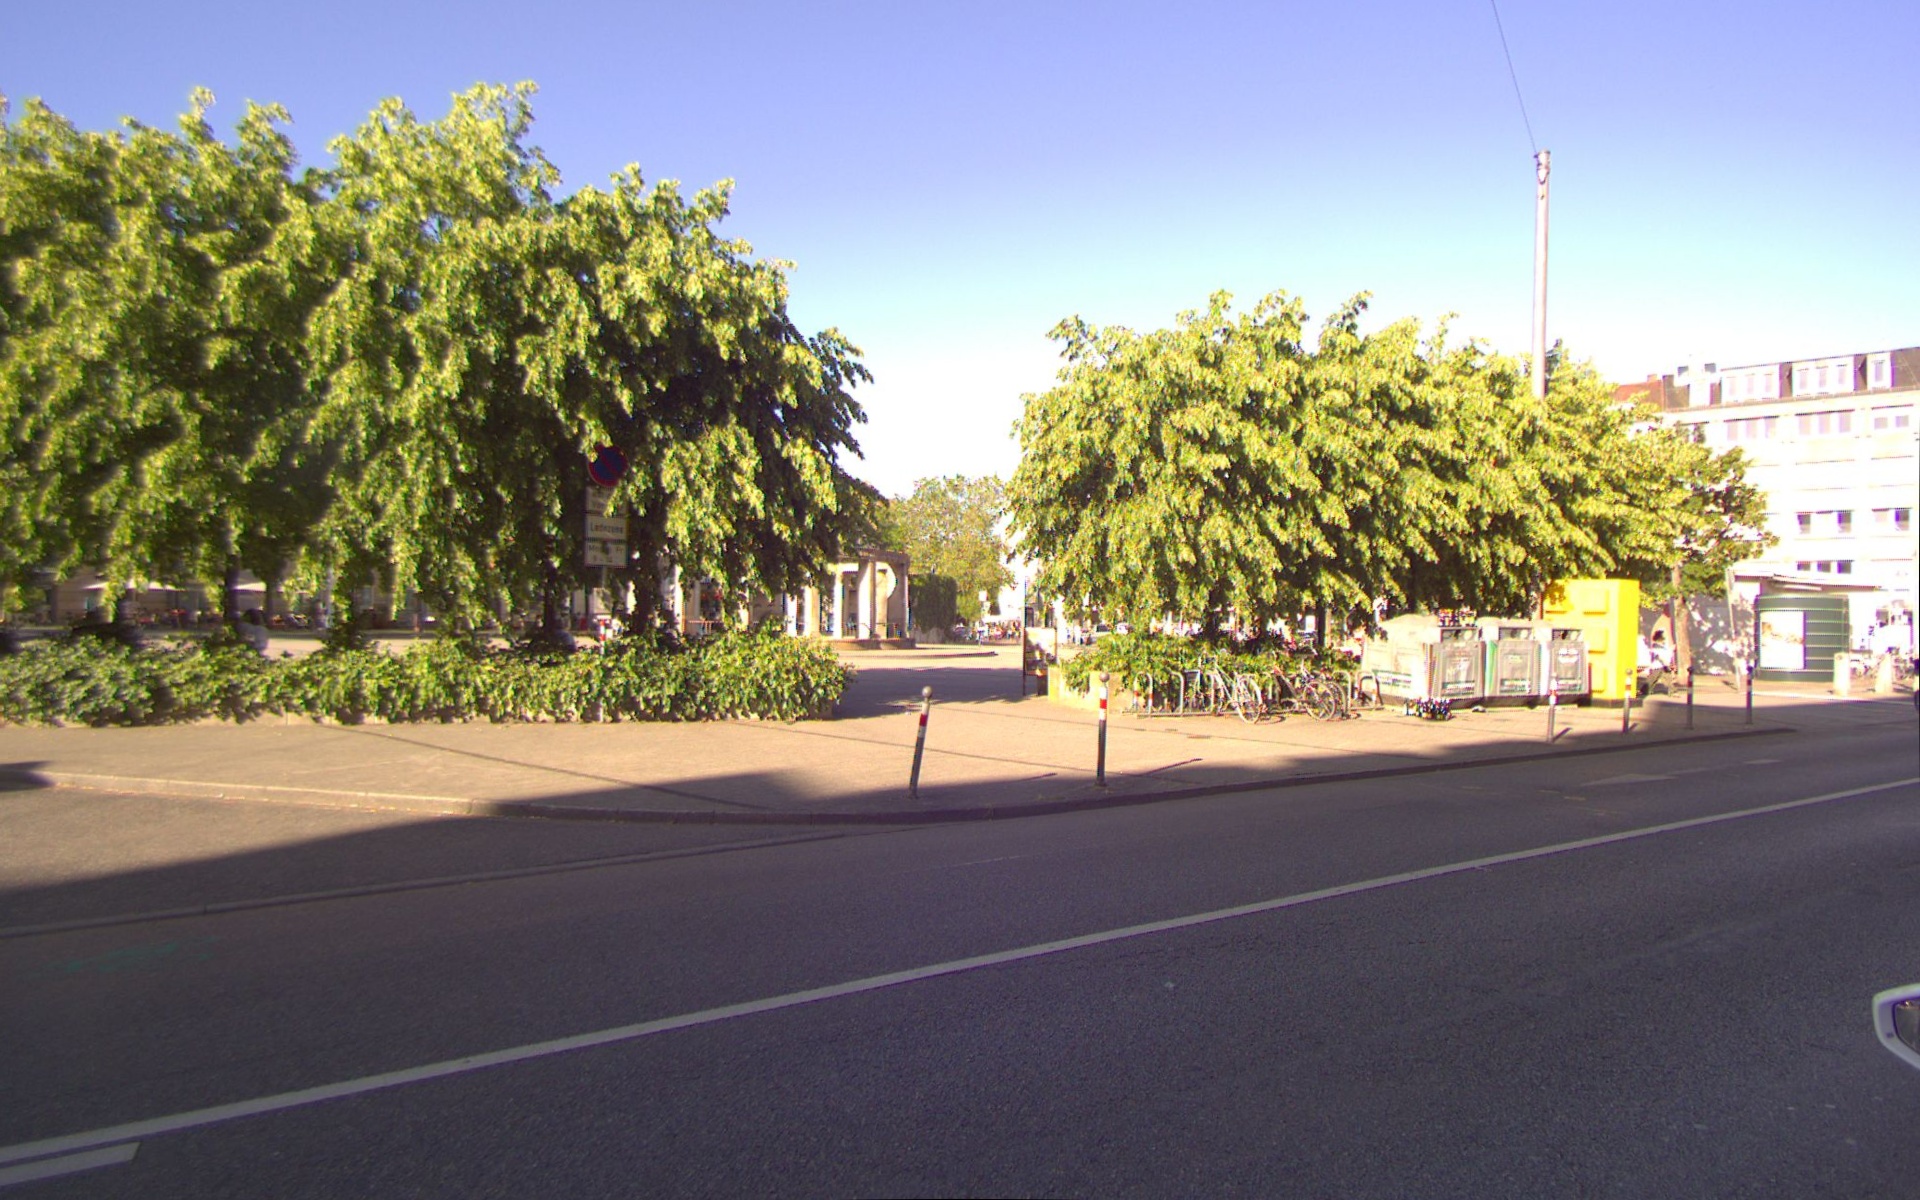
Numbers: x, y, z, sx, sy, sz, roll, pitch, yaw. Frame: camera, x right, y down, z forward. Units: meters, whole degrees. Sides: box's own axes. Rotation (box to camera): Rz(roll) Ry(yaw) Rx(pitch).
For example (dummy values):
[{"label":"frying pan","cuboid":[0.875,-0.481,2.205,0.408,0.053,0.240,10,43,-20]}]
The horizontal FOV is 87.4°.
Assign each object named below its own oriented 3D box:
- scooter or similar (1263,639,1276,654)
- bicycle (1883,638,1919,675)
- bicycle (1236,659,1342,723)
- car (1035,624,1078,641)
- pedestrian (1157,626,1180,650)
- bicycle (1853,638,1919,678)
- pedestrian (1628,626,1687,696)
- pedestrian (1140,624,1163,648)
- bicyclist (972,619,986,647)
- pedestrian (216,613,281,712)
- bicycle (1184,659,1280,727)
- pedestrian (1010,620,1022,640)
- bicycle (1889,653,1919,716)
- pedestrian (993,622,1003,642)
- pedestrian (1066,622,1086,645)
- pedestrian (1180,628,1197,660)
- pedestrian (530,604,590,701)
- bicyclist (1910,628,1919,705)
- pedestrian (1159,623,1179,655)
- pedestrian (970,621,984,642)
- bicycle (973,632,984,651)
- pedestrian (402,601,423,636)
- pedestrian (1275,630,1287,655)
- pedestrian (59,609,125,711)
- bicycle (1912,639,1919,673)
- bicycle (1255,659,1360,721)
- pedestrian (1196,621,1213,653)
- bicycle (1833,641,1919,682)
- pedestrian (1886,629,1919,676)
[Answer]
[{"label":"scooter or similar","cuboid":[20.013,2.995,64.931,0.775,0.970,0.464,2,0,25]},{"label":"bicycle","cuboid":[35.268,2.083,36.139,0.932,1.287,2.859,2,0,-32]},{"label":"bicycle","cuboid":[5.281,1.442,16.191,0.465,0.870,1.659,2,0,-35]},{"label":"car","cuboid":[8.956,3.011,93.516,1.538,1.550,4.087,1,-1,-39]},{"label":"pedestrian","cuboid":[11.256,2.031,54.265,0.885,1.230,0.864,2,0,-15]},{"label":"bicycle","cuboid":[33.149,2.039,35.073,0.923,1.291,2.764,2,0,-32]},{"label":"pedestrian","cuboid":[16.153,1.398,23.263,0.688,1.564,0.915,2,0,-35]},{"label":"pedestrian","cuboid":[10.204,1.907,53.626,0.855,1.230,0.933,2,0,-15]},{"label":"bicyclist","cuboid":[1.184,2.063,62.923,0.773,1.722,0.896,2,0,2]},{"label":"pedestrian","cuboid":[-10.844,0.933,15.307,0.581,1.456,0.615,2,0,33]},{"label":"bicycle","cuboid":[4.181,1.410,15.533,0.464,0.897,1.558,2,0,-29]},{"label":"pedestrian","cuboid":[5.368,2.908,96.695,0.891,1.845,0.952,2,0,17]},{"label":"bicycle","cuboid":[19.165,1.653,19.346,0.618,1.239,2.000,2,-3,-4]},{"label":"pedestrian","cuboid":[3.905,3.271,104.021,0.836,2.040,0.855,2,0,10]},{"label":"pedestrian","cuboid":[9.737,2.815,84.428,1.277,1.867,1.100,2,0,28]},{"label":"pedestrian","cuboid":[11.440,2.213,50.294,0.762,1.541,0.838,2,0,15]},{"label":"pedestrian","cuboid":[-6.563,0.845,16.475,0.688,1.541,0.676,2,0,-41]},{"label":"bicyclist","cuboid":[19.176,1.319,19.446,0.596,1.504,0.957,2,0,-5]},{"label":"pedestrian","cuboid":[10.605,1.979,50.885,0.904,1.541,0.936,2,0,15]},{"label":"pedestrian","cuboid":[1.592,2.923,93.600,0.935,1.845,0.862,2,0,31]},{"label":"bicycle","cuboid":[1.167,2.576,63.100,0.593,1.116,1.990,2,0,4]},{"label":"pedestrian","cuboid":[-25.197,0.848,46.227,0.734,1.550,0.686,2,0,-39]},{"label":"pedestrian","cuboid":[20.646,2.717,64.621,0.614,1.544,0.579,2,0,25]},{"label":"pedestrian","cuboid":[-12.852,0.870,14.890,0.615,1.456,0.647,2,0,-32]},{"label":"bicycle","cuboid":[37.252,2.154,37.284,0.932,1.276,2.648,2,0,-32]},{"label":"bicycle","cuboid":[5.680,1.453,16.487,0.465,0.870,1.654,2,0,-35]},{"label":"pedestrian","cuboid":[12.208,1.851,50.168,0.598,1.528,0.557,2,0,-15]},{"label":"bicycle","cuboid":[31.227,2.062,33.771,0.932,1.211,2.645,2,0,-32]},{"label":"pedestrian","cuboid":[34.264,1.887,35.994,1.247,1.633,1.091,2,0,-20]}]
